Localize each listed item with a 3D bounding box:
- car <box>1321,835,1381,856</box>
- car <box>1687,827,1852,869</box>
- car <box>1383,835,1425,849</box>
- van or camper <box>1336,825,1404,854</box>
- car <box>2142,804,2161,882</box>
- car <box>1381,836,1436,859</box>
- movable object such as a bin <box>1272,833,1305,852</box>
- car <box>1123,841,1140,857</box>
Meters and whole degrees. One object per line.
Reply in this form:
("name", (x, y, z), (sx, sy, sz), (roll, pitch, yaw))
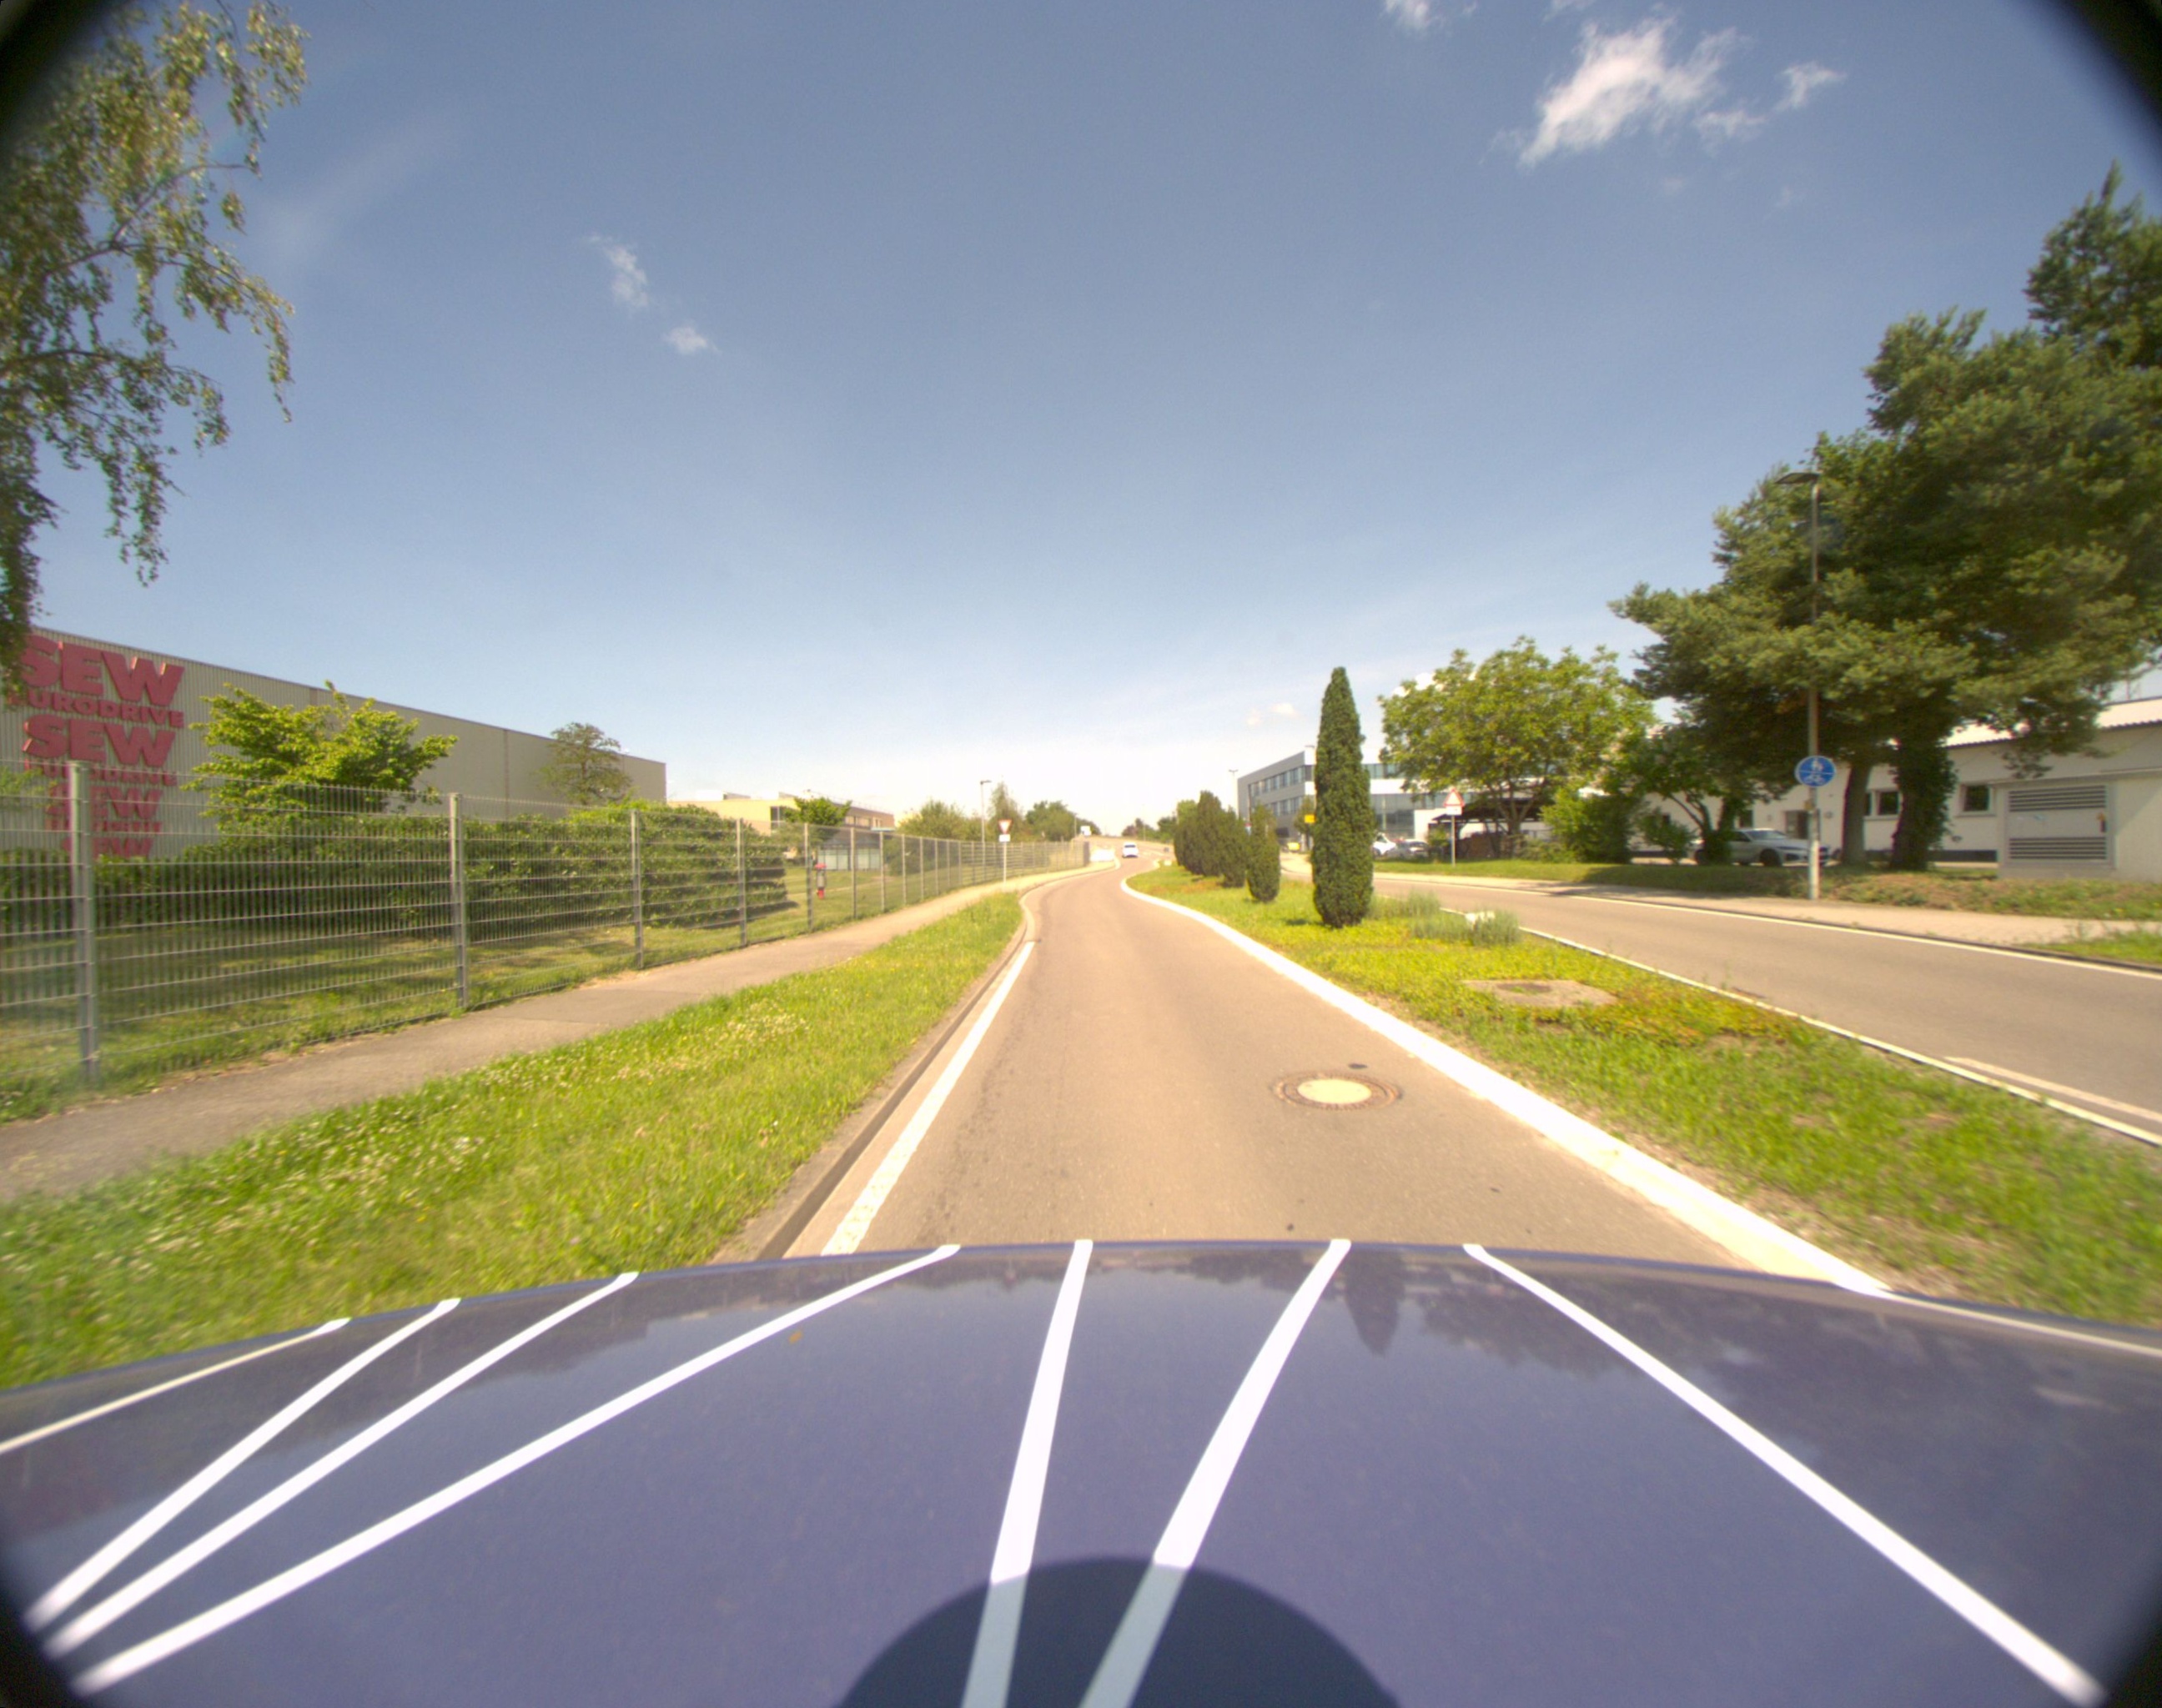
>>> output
("car", (20.556, -0.662, 58.027), (3.995, 1.510, 2.001), (-1, 1, 7))
("car", (25.351, -0.227, 28.236), (1.999, 1.400, 4.515), (-2, 1, 0))
("car", (33.422, -1.274, 78.637), (3.732, 1.314, 1.904), (-1, 2, 34))
("van or camper", (26.234, -1.322, 69.046), (5.574, 2.483, 2.082), (-1, 2, 28))
("car", (24.818, -0.244, 14.928), (1.999, 1.734, 4.228), (-1, 1, -1))
("car", (21.973, -0.439, 51.148), (1.998, 1.434, 3.999), (-1, 1, 1))
("movable object such as a bin", (28.484, -1.585, 104.415), (2.172, 2.396, 5.455), (-2, 1, -9))
("car", (6.270, -0.695, 94.518), (1.998, 1.904, 4.000), (-1, 1, 2))
